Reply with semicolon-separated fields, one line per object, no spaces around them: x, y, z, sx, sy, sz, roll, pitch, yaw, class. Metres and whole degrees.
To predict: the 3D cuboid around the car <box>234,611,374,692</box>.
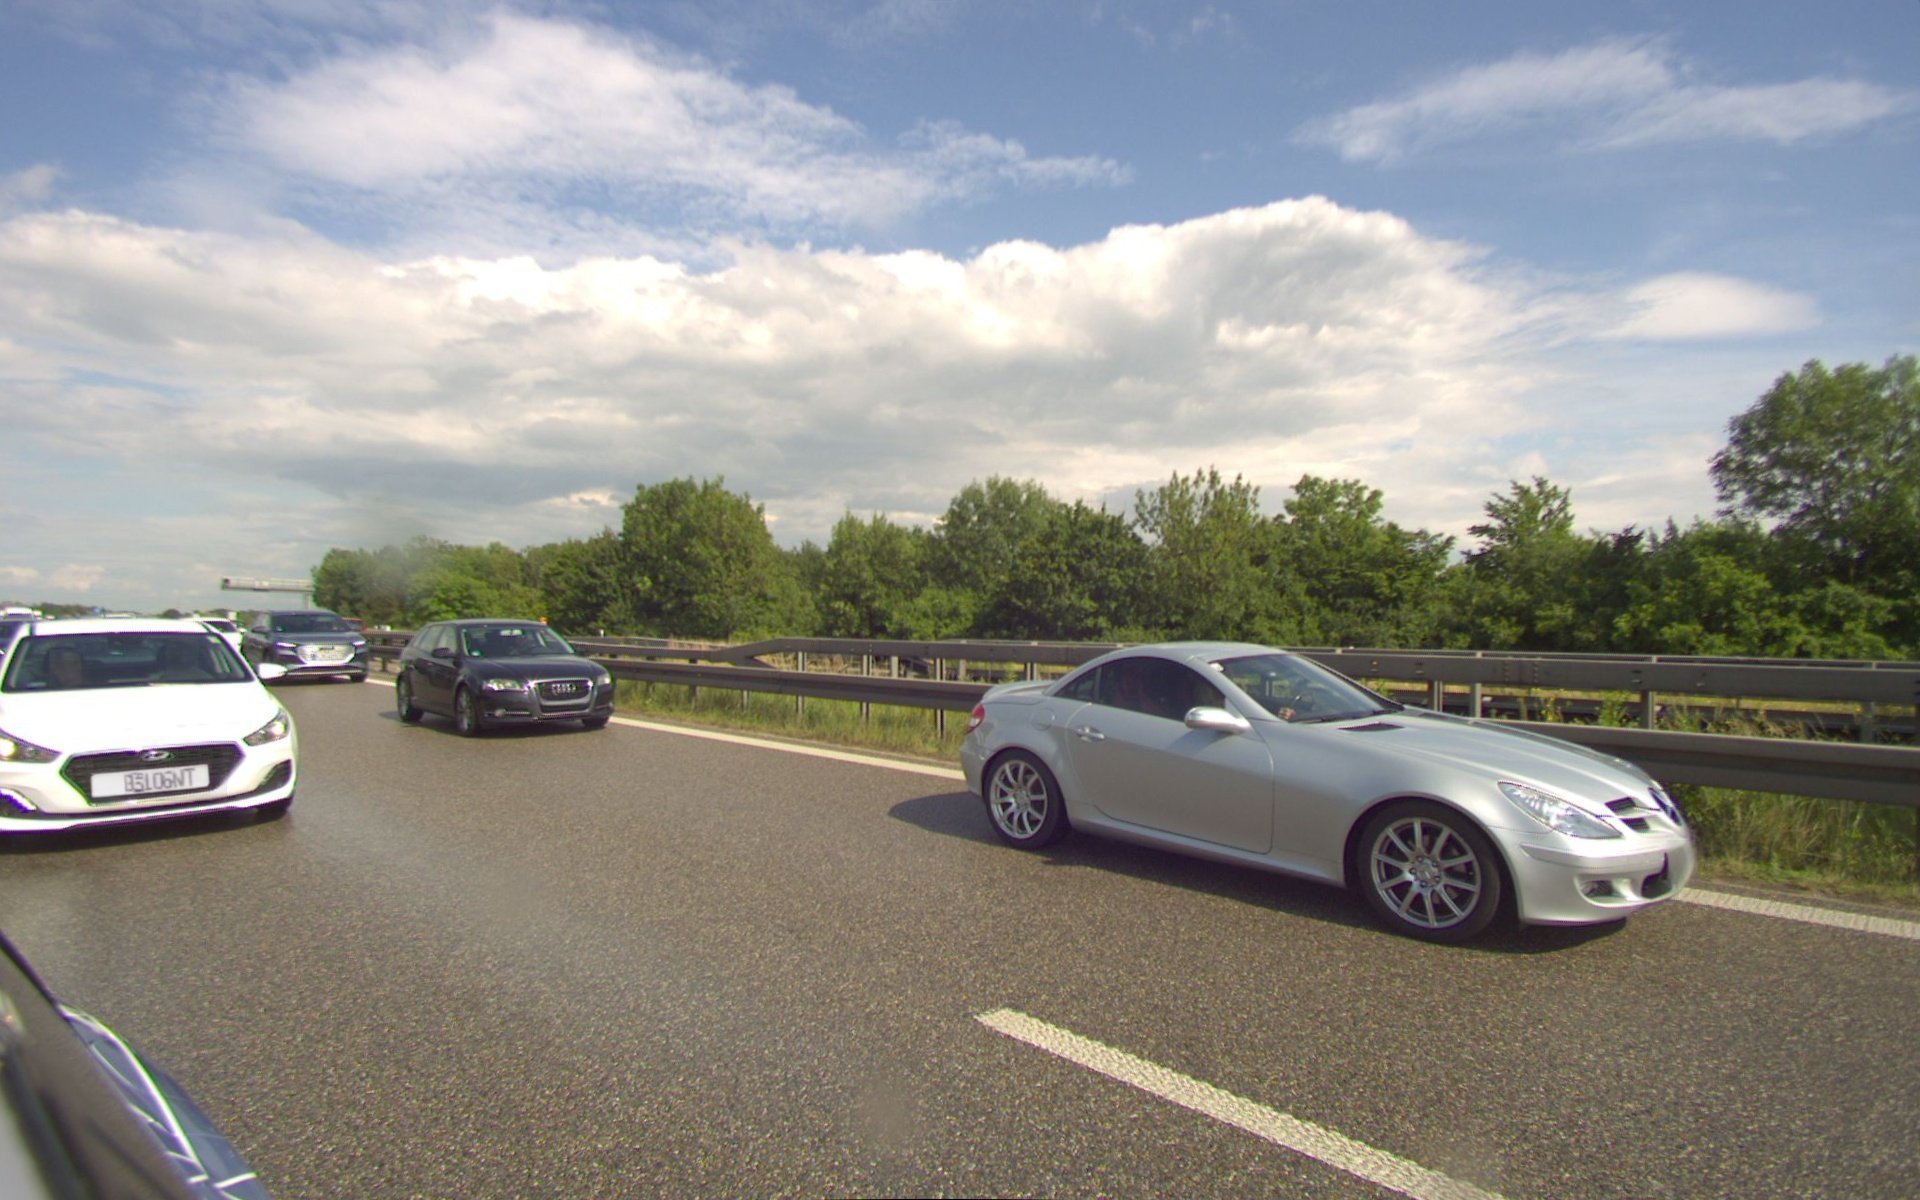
-14.679;1.073;22.553;1.848;1.618;4.232;0;-1;-44;car

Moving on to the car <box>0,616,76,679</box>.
-24.911;1.211;26.788;4.002;1.497;1.971;0;-2;45;car

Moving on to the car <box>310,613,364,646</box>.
-40.552;1.888;65.856;4.655;2.029;1.971;-1;-1;44;car

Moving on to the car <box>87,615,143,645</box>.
-46.313;1.602;55.435;4.002;1.490;1.971;0;1;45;car

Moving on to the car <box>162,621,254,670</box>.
-23.679;1.375;31.821;4.002;1.389;1.747;0;-1;45;car

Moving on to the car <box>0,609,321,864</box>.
-6.654;0.825;7.911;1.860;1.466;4.550;1;-1;-45;car

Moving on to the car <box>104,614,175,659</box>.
-35.701;1.527;43.983;4.002;1.762;1.971;0;1;45;car

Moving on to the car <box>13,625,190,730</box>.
-13.112;1.059;15.368;1.705;1.348;4.289;1;-1;-45;car

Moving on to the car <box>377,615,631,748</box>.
-6.089;0.930;13.269;1.746;1.436;4.142;0;0;-44;car

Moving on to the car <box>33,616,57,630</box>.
-115.280;2.888;127.506;4.002;1.710;1.971;0;1;45;car

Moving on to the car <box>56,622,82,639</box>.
-100.255;3.447;113.877;4.002;1.710;1.971;0;1;45;car

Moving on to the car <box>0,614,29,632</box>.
-92.869;2.230;99.394;4.002;1.710;1.971;0;1;45;car

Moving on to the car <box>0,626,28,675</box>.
-33.430;1.725;34.722;4.002;1.490;1.971;0;1;45;car

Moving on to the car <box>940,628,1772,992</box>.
1.903;0.824;5.748;1.705;1.288;4.065;1;-1;-45;car

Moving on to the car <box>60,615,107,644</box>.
-55.824;1.831;64.447;4.002;1.710;1.971;0;1;45;car

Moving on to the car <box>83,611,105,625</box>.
-118.406;2.469;138.310;1.970;1.792;4.464;0;-1;-44;car
